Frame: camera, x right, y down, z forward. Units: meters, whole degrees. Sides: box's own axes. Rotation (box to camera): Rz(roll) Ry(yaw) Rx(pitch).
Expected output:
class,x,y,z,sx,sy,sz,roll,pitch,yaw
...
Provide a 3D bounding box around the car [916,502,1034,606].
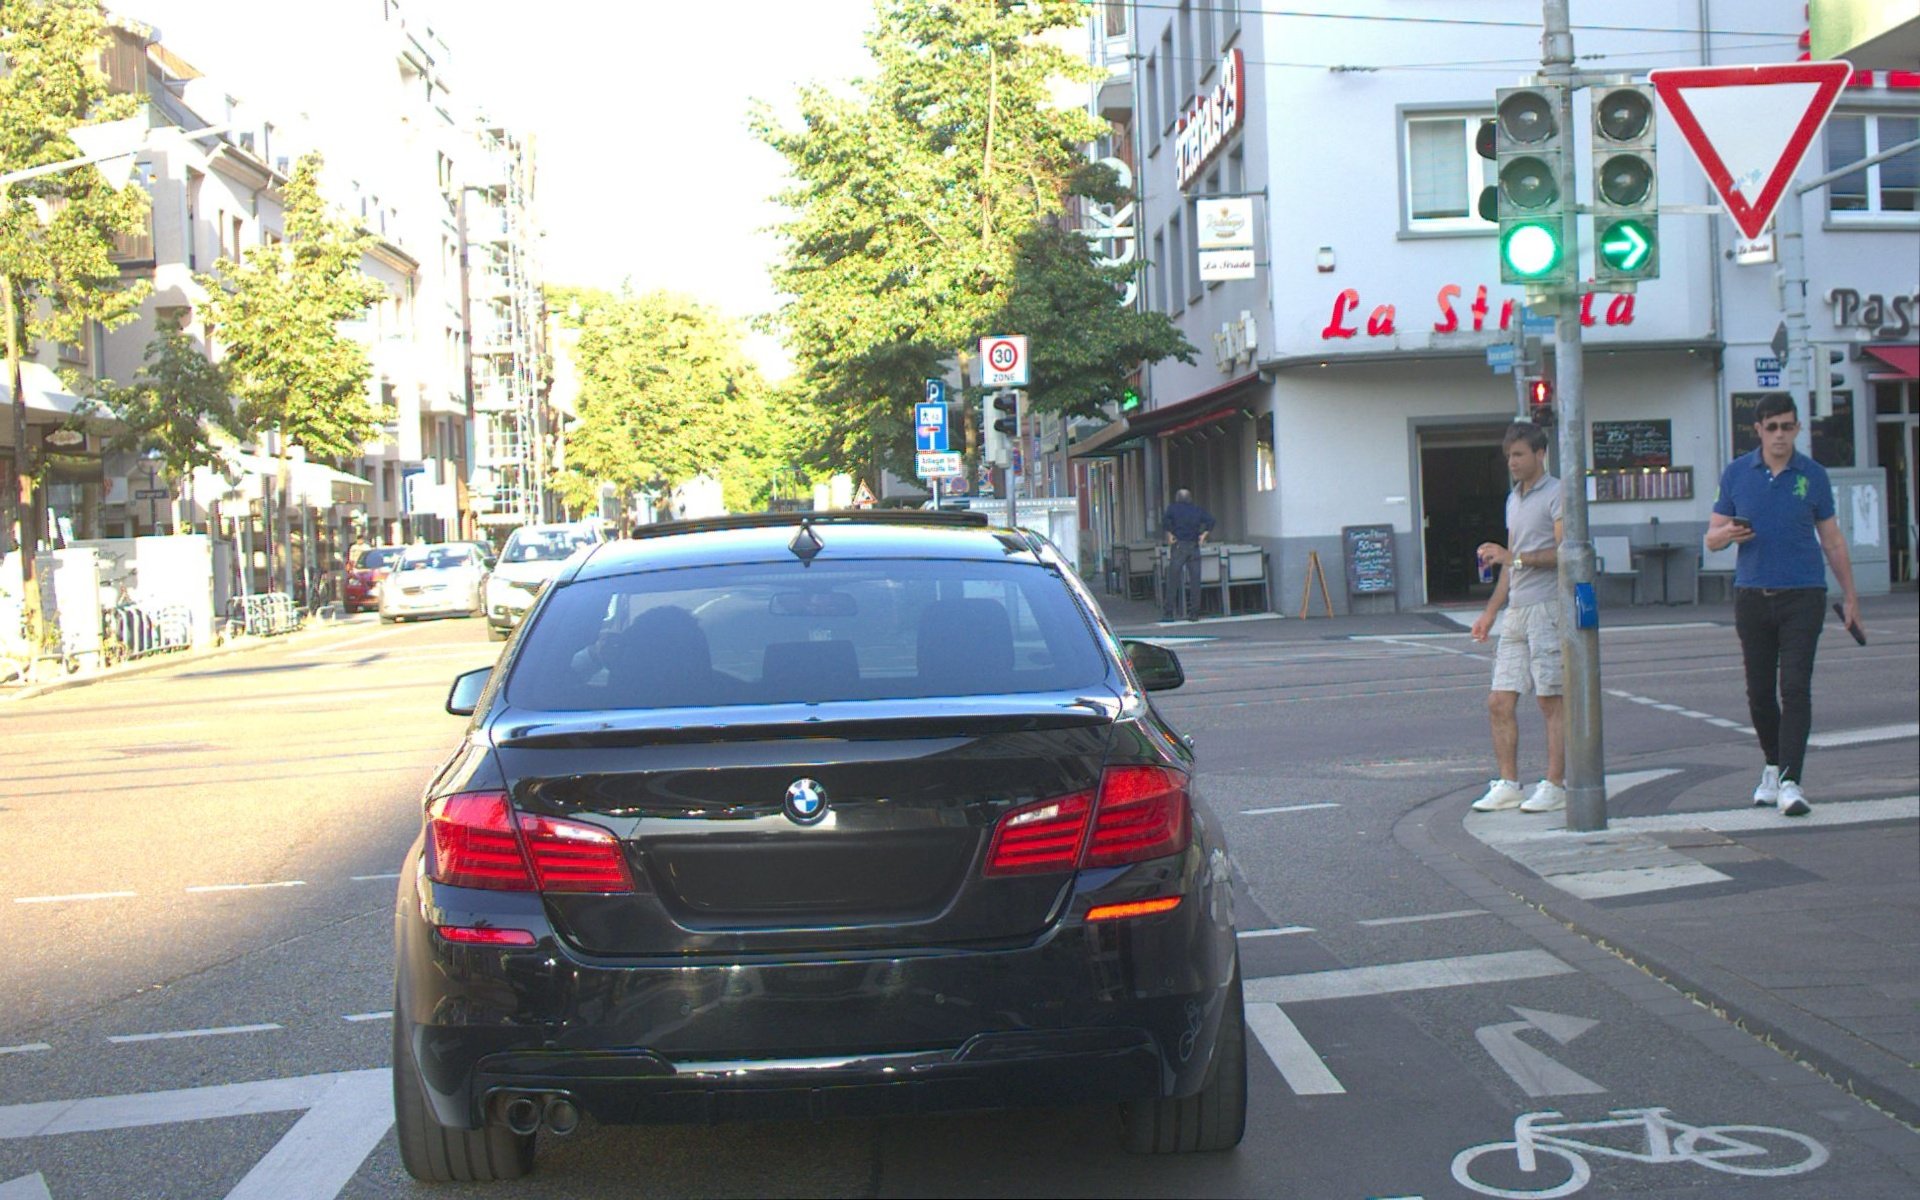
class,x,y,z,sx,sy,sz,roll,pitch,yaw
car,0.248,-0.705,51.311,1.640,1.439,3.607,-2,1,1

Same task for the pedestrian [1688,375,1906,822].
class,x,y,z,sx,sy,sz,roll,pitch,yaw
pedestrian,3.567,-0.015,14.708,0.691,1.821,0.880,-3,1,5

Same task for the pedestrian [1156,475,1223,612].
class,x,y,z,sx,sy,sz,roll,pitch,yaw
pedestrian,2.866,-0.704,42.905,0.711,1.670,0.703,-2,1,-2

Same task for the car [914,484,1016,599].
class,x,y,z,sx,sy,sz,roll,pitch,yaw
car,0.104,-1.017,57.978,1.640,1.867,3.607,1,2,1

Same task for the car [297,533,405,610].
class,x,y,z,sx,sy,sz,roll,pitch,yaw
car,-13.415,-0.624,75.905,1.834,1.551,3.780,-3,1,-3

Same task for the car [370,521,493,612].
class,x,y,z,sx,sy,sz,roll,pitch,yaw
car,-9.709,-0.644,63.404,1.834,1.551,3.780,-2,1,-3

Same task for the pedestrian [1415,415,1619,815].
class,x,y,z,sx,sy,sz,roll,pitch,yaw
pedestrian,2.502,0.059,15.494,0.651,1.736,0.694,-3,1,-10

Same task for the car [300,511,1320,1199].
class,x,y,z,sx,sy,sz,roll,pitch,yaw
car,-0.307,0.533,8.861,1.953,1.493,4.465,0,1,0

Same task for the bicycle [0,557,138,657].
class,x,y,z,sx,sy,sz,roll,pitch,yaw
bicycle,-11.794,0.088,44.086,2.366,1.248,0.640,-1,1,-6

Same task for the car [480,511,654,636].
class,x,y,z,sx,sy,sz,roll,pitch,yaw
car,-5.454,-0.377,48.137,2.108,1.551,4.013,-3,1,-3
